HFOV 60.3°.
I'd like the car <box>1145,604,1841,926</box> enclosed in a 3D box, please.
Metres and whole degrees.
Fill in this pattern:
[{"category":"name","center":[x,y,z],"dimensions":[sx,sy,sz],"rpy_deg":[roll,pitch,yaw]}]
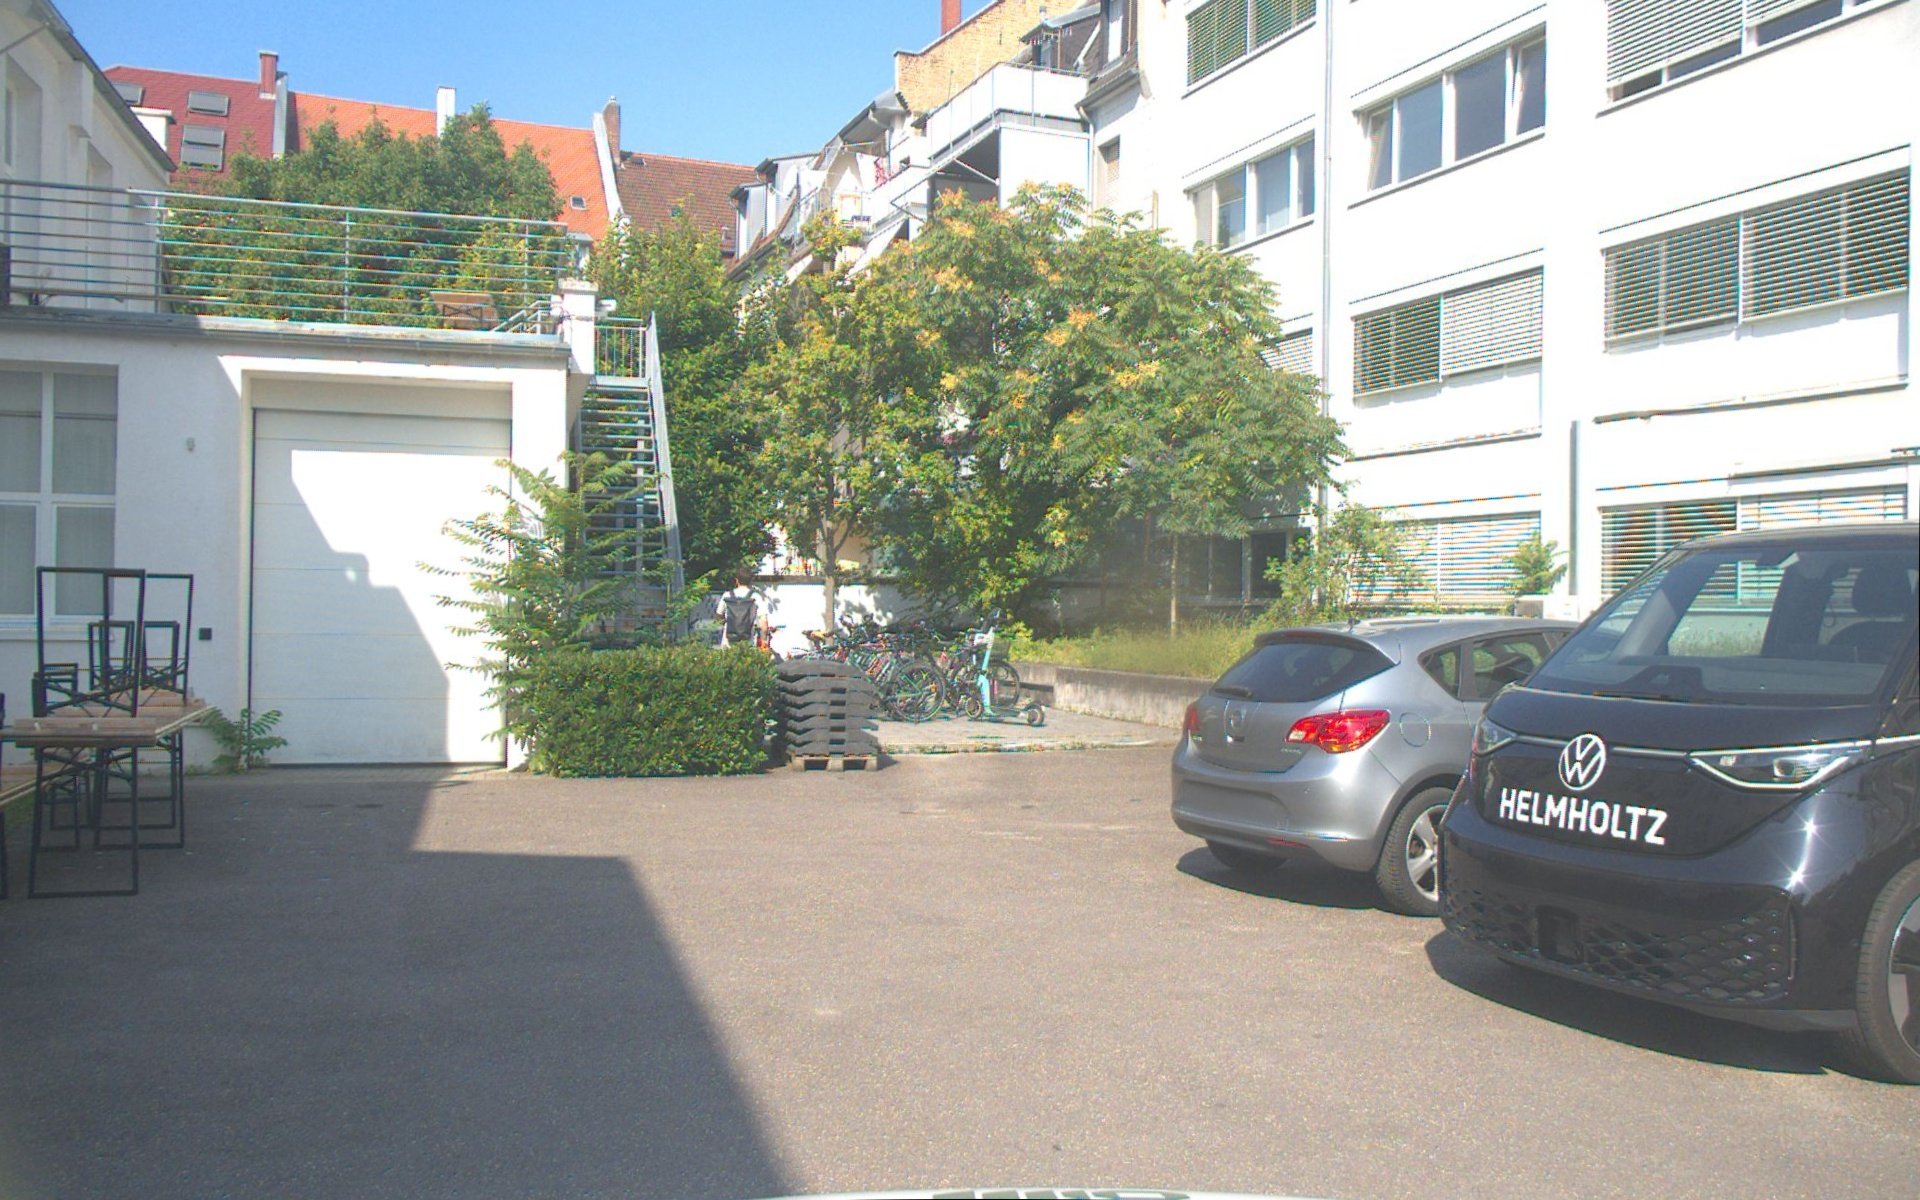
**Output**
[{"category":"car","center":[3.096,0.781,9.453],"dimensions":[3.854,1.491,1.646],"rpy_deg":[0,0,-30]}]

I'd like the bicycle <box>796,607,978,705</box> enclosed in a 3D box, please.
[{"category":"bicycle","center":[-0.981,0.759,22.247],"dimensions":[2.372,1.268,0.524],"rpy_deg":[2,-1,-17]}]

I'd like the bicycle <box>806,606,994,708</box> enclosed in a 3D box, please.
[{"category":"bicycle","center":[-0.781,0.742,21.564],"dimensions":[2.372,1.268,0.524],"rpy_deg":[2,-1,-17]}]

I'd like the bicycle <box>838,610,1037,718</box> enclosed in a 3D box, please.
[{"category":"bicycle","center":[-0.268,0.790,20.248],"dimensions":[2.372,1.268,0.524],"rpy_deg":[2,-1,-17]}]

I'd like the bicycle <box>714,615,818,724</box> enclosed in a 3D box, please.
[{"category":"bicycle","center":[-2.291,0.782,19.319],"dimensions":[0.483,1.163,1.974],"rpy_deg":[0,1,-30]}]

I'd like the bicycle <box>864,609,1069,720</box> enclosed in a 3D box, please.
[{"category":"bicycle","center":[0.081,0.767,19.649],"dimensions":[2.372,1.268,0.524],"rpy_deg":[2,-1,-17]}]

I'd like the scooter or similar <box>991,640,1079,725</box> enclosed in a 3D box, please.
[{"category":"scooter or similar","center":[0.877,0.951,19.332],"dimensions":[0.980,0.940,0.359],"rpy_deg":[1,-1,37]}]

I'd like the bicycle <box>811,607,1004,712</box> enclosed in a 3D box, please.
[{"category":"bicycle","center":[-0.660,0.757,20.996],"dimensions":[2.372,1.268,0.524],"rpy_deg":[2,-1,-17]}]

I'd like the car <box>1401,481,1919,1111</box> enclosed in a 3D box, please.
[{"category":"car","center":[4.106,0.588,6.769],"dimensions":[4.281,1.891,1.899],"rpy_deg":[0,0,-26]}]

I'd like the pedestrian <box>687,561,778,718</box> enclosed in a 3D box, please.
[{"category":"pedestrian","center":[-2.672,0.457,19.402],"dimensions":[0.850,1.803,0.604],"rpy_deg":[2,-1,-32]}]
